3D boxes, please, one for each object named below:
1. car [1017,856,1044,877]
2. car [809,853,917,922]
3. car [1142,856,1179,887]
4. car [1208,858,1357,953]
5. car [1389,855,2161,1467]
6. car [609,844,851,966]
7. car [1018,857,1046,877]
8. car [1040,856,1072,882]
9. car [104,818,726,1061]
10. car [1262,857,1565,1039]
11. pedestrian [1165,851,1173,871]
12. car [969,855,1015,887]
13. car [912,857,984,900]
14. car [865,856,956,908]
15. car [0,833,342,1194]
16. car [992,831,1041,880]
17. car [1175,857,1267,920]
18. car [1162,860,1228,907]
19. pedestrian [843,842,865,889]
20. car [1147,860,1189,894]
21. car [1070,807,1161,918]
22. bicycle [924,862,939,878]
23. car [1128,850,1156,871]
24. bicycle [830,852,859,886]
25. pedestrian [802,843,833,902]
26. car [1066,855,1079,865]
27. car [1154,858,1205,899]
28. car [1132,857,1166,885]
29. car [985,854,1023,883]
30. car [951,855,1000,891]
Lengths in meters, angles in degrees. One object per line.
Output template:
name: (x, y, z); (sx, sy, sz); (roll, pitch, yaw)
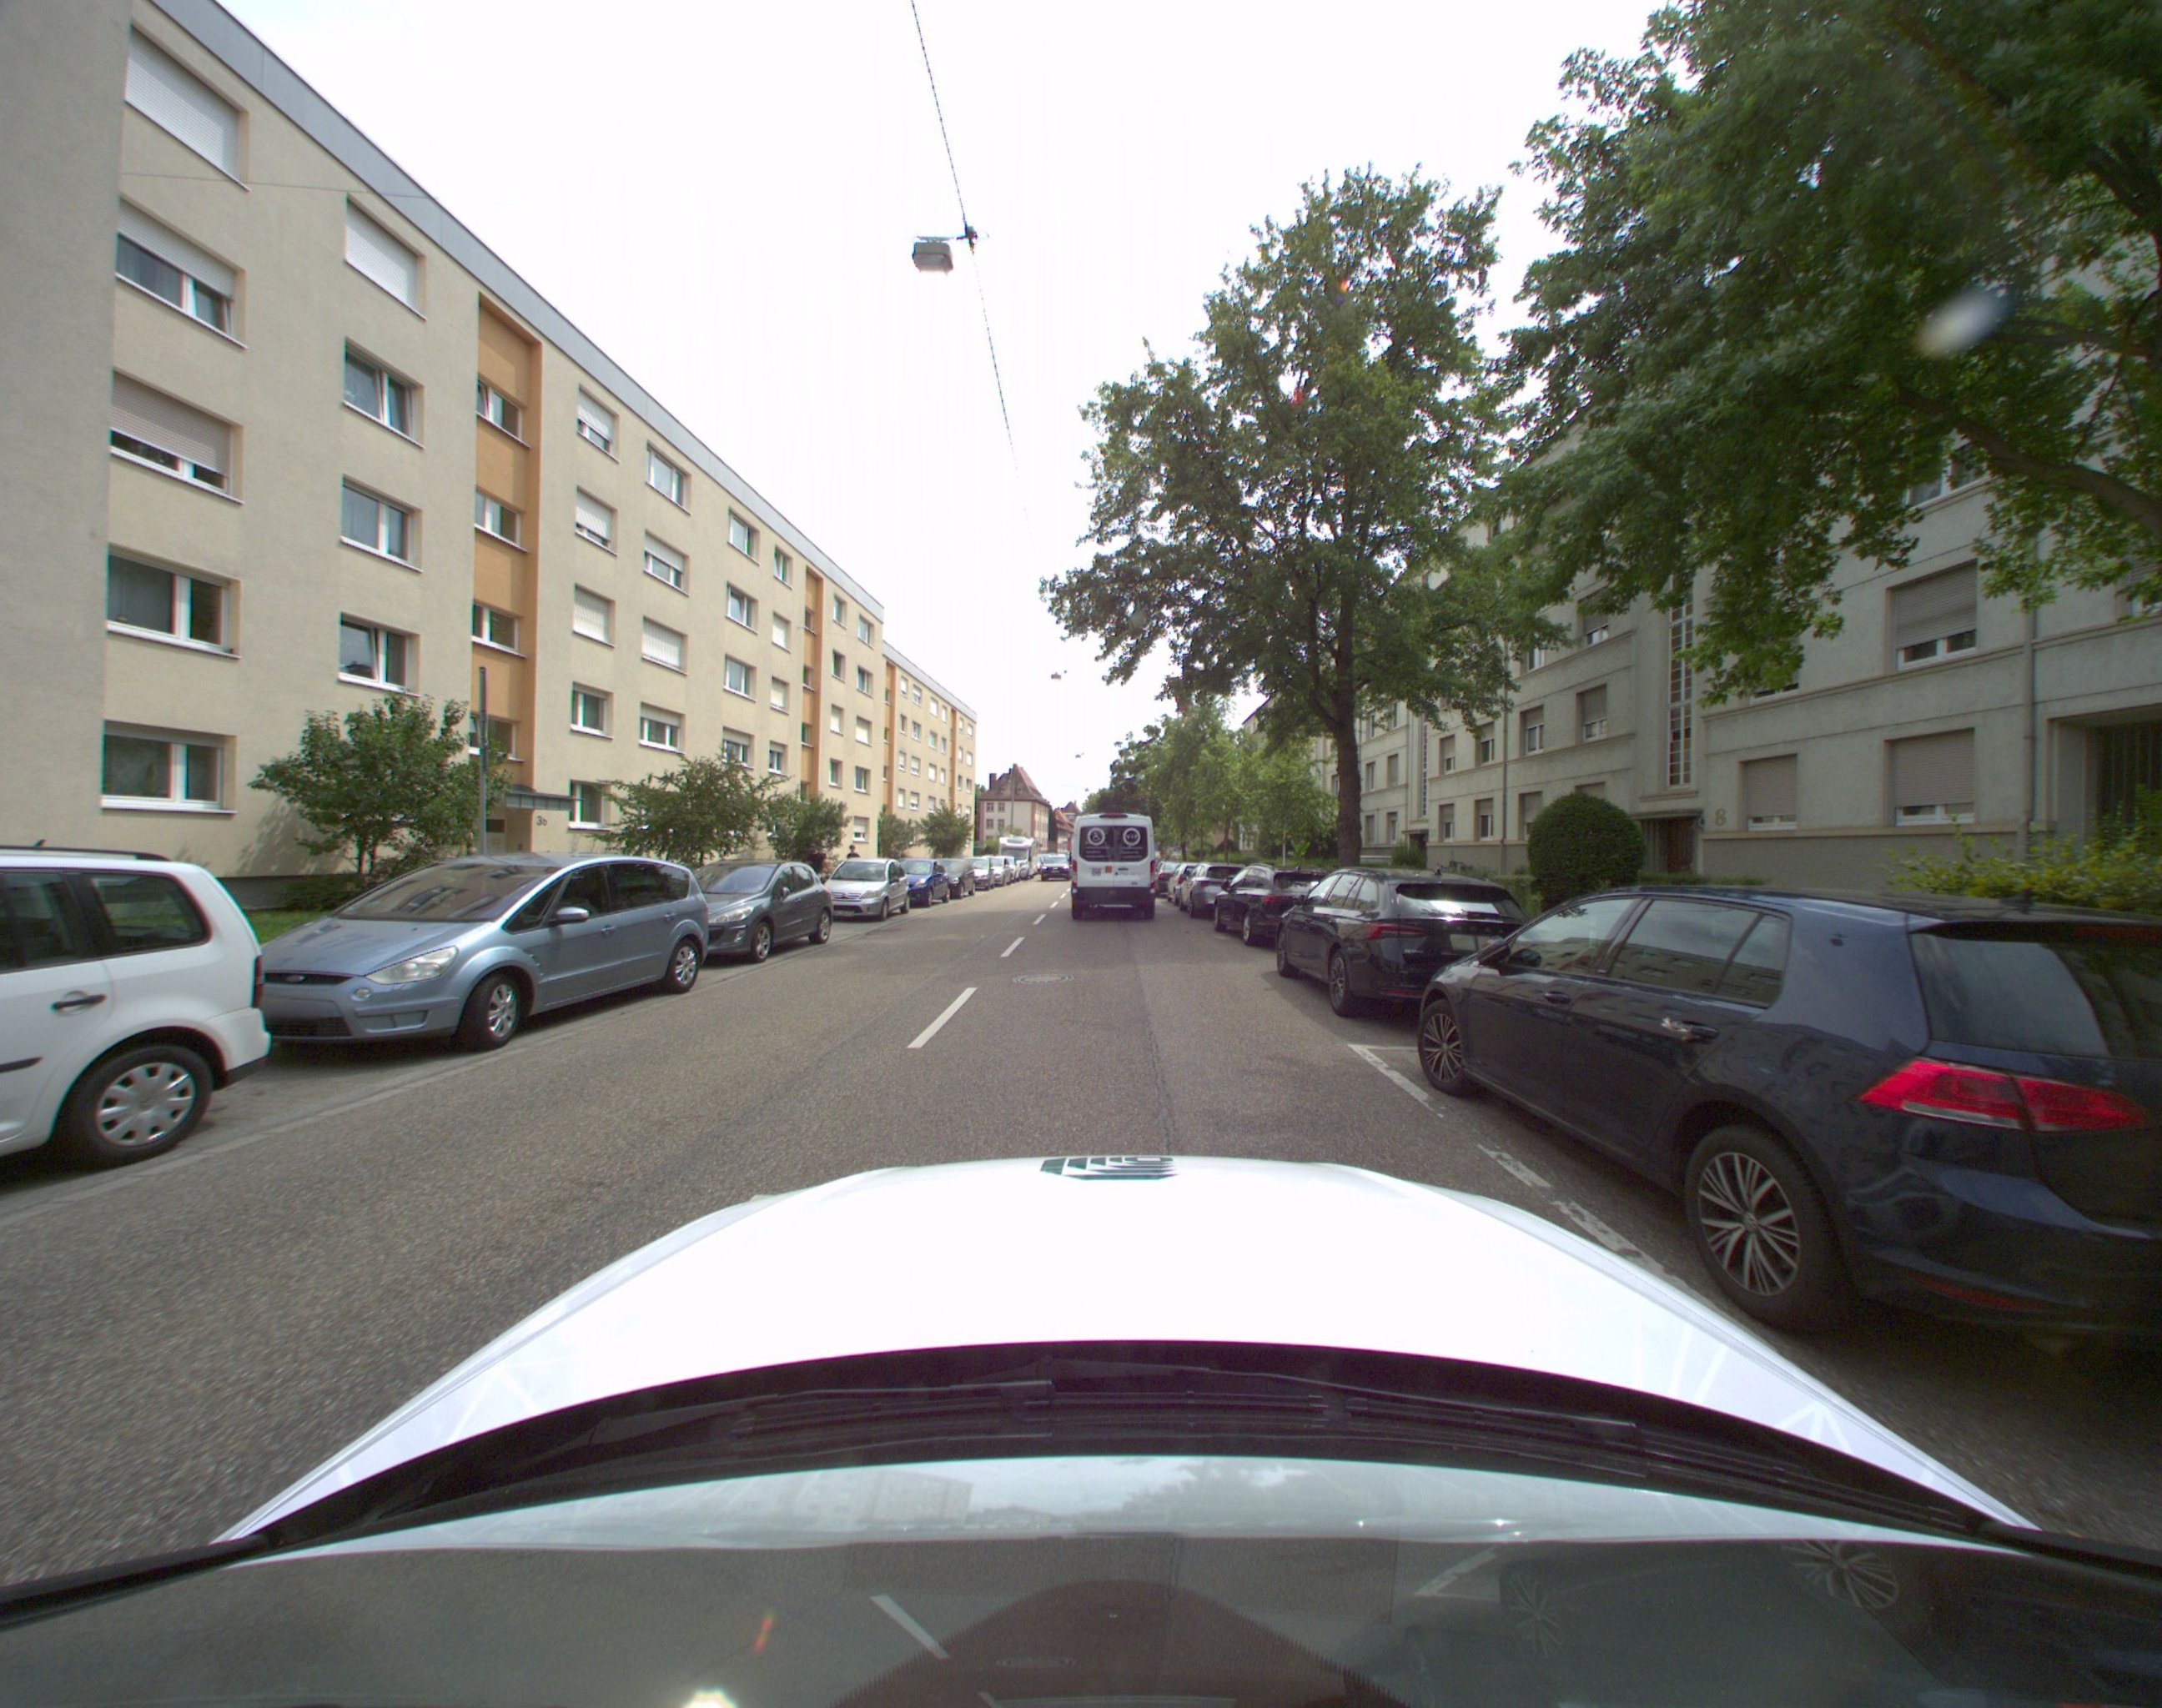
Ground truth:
car: (-3.863, 0.956, 62.735); (1.682, 1.496, 4.594); (2, 0, 1)
car: (-5.490, 0.781, 20.999); (1.664, 1.561, 3.851); (2, 0, 1)
car: (4.193, 0.898, 43.358); (1.653, 1.469, 3.890); (1, 1, 1)
car: (3.693, 0.861, 15.780); (1.691, 1.469, 4.753); (2, 0, 0)
car: (3.086, 0.774, 4.027); (1.690, 1.469, 4.103); (2, 0, 2)
car: (-5.492, 0.713, 13.481); (1.935, 1.613, 4.304); (2, 0, 2)
car: (-4.067, 1.071, 68.341); (1.879, 1.579, 5.220); (2, 0, 1)
car: (-1.576, 0.926, 52.809); (1.812, 1.586, 4.436); (0, 0, 1)
car: (-5.717, 0.601, 8.110); (1.934, 1.613, 4.865); (2, 0, 3)
car: (3.331, 0.805, 9.200); (1.690, 1.469, 4.562); (2, 0, 2)
pedestrian: (8.215, 0.632, 76.125); (0.527, 1.828, 0.517); (0, -1, -42)
car: (-4.670, 0.860, 43.386); (1.748, 1.579, 4.570); (2, 0, 2)
car: (-5.053, 0.896, 31.499); (1.810, 1.483, 4.119); (2, 0, 3)
car: (-5.376, 0.827, 26.186); (1.810, 1.483, 3.888); (2, 0, 3)
car: (-5.759, 0.704, 3.030); (1.690, 1.613, 4.481); (2, 0, 3)
car: (-4.289, 0.095, 55.327); (2.502, 3.024, 7.397); (2, 0, 1)
car: (3.662, 0.840, 22.105); (1.691, 1.469, 4.718); (2, 0, 1)
car: (3.785, 0.947, 27.565); (1.664, 1.400, 3.852); (3, 0, 1)
pedestrian: (-8.865, 0.433, 31.788); (0.618, 1.813, 0.803); (0, 0, -1)
car: (4.030, 1.038, 38.362); (1.653, 1.469, 3.726); (1, 0, 1)
car: (0.785, 0.211, 20.902); (2.064, 2.540, 4.633); (0, -1, 0)
bicycle: (-10.073, 1.071, 54.987); (0.451, 0.980, 2.447); (1, 1, 2)
car: (5.203, 0.547, 70.179); (1.921, 1.661, 5.323); (3, 0, 0)
bicycle: (-10.366, 0.638, 35.806); (0.459, 1.393, 2.133); (1, 1, 5)
pedestrian: (-8.299, 0.574, 25.661); (0.618, 1.813, 0.899); (2, -1, -1)
car: (-1.405, 0.998, 129.068); (1.779, 1.482, 3.863); (2, 0, 3)
car: (3.899, 0.921, 32.798); (1.771, 1.469, 4.620); (2, 0, 4)
car: (4.125, 1.008, 49.883); (1.654, 1.583, 4.284); (3, 0, 0)
car: (-4.525, 0.845, 48.540); (1.682, 1.579, 4.594); (2, 0, 1)
car: (-4.895, 0.849, 38.150); (1.717, 1.539, 4.005); (1, 1, 0)
